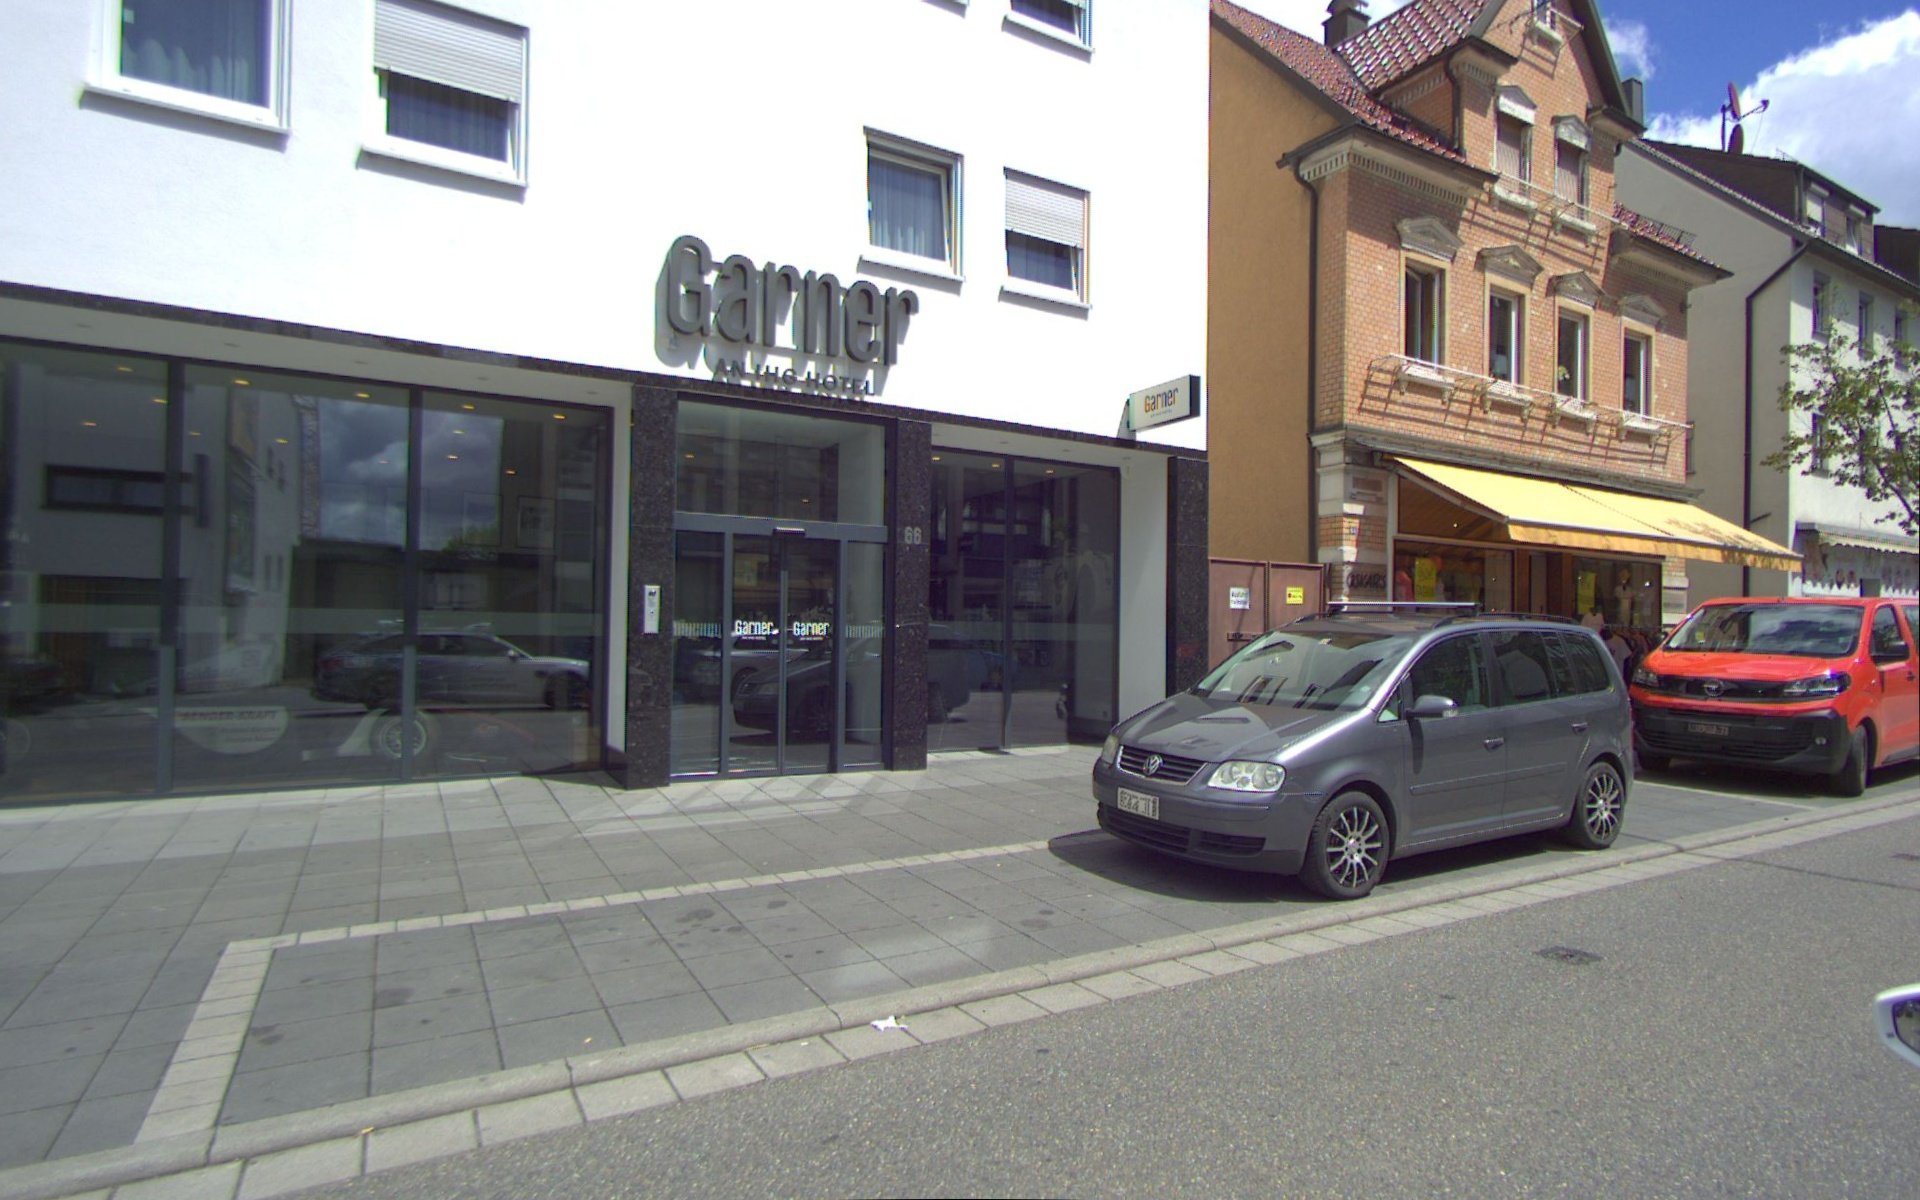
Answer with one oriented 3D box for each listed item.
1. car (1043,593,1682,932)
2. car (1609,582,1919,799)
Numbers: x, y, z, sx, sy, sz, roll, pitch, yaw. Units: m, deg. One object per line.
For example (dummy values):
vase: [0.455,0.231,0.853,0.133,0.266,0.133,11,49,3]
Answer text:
car: [2.941,0.917,7.128,4.409,1.778,1.808,2,0,-29]
car: [9.189,0.863,10.939,4.791,1.914,1.805,2,-1,-34]
